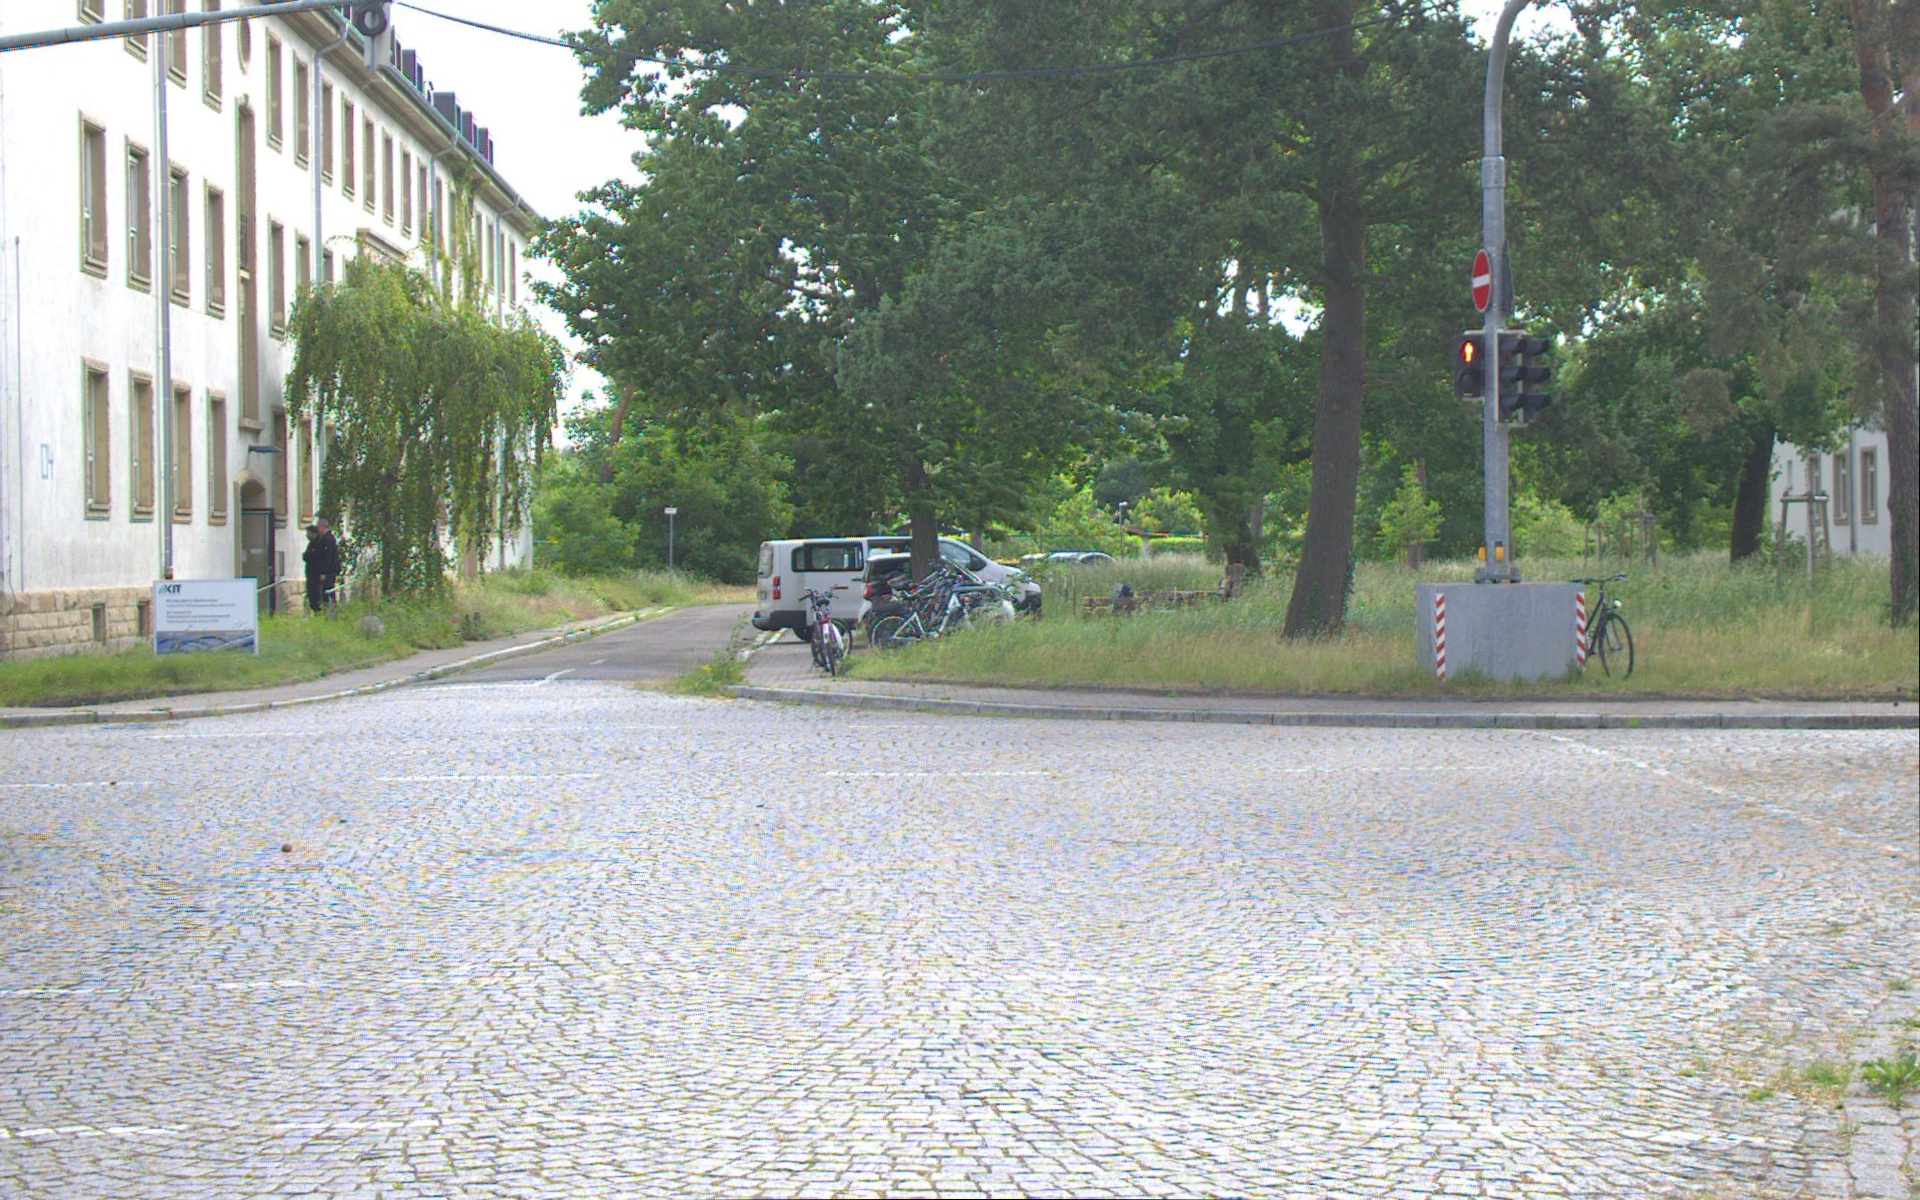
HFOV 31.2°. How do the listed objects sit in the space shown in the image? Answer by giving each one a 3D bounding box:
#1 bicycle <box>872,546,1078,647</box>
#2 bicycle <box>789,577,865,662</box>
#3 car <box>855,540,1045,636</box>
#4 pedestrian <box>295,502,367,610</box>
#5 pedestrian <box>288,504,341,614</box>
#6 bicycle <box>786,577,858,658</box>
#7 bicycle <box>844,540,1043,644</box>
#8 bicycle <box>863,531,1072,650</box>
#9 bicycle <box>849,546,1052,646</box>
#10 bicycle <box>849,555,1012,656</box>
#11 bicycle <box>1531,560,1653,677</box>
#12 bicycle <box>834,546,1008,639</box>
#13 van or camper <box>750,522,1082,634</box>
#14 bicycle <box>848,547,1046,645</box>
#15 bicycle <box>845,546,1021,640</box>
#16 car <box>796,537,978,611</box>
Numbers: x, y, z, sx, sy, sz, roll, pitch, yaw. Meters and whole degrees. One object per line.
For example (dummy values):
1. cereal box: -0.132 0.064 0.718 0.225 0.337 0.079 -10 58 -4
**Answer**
1. bicycle: 0.196 -0.052 47.700 2.802 1.367 0.951 -1 1 -2
2. bicycle: -1.620 0.227 41.877 0.900 0.993 1.979 -1 1 -2
3. car: -0.200 -0.210 59.890 3.224 1.615 1.938 1 0 -2
4. pedestrian: -11.046 -0.766 60.376 1.194 1.863 1.550 1 0 -11
5. pedestrian: -11.479 -0.731 61.126 0.865 1.925 0.837 1 0 -13
6. bicycle: -1.752 0.212 43.968 0.727 0.993 1.978 0 1 3
7. bicycle: -0.231 -0.111 45.890 2.619 1.362 0.874 -1 1 -2
8. bicycle: 0.092 -0.142 46.766 2.802 1.578 0.951 -1 1 -2
9. bicycle: -0.146 -0.060 48.228 2.802 1.367 0.951 -1 1 -2
10. bicycle: -0.403 0.067 45.277 2.113 1.302 0.874 -1 1 -2
11. bicycle: 6.105 0.163 33.296 0.644 1.059 1.834 -4 1 -4
12. bicycle: -0.597 -0.118 51.755 2.567 1.367 0.951 -1 1 -2
13. van or camper: -0.830 -0.423 63.419 5.740 1.950 2.238 -1 1 -13
14. bicycle: -0.200 -0.067 49.121 2.802 1.367 0.951 -1 1 -2
15. bicycle: -0.410 -0.110 50.920 2.567 1.367 0.951 -1 1 -2
16. car: -1.662 -0.586 77.203 3.986 1.594 1.704 -1 1 -4
